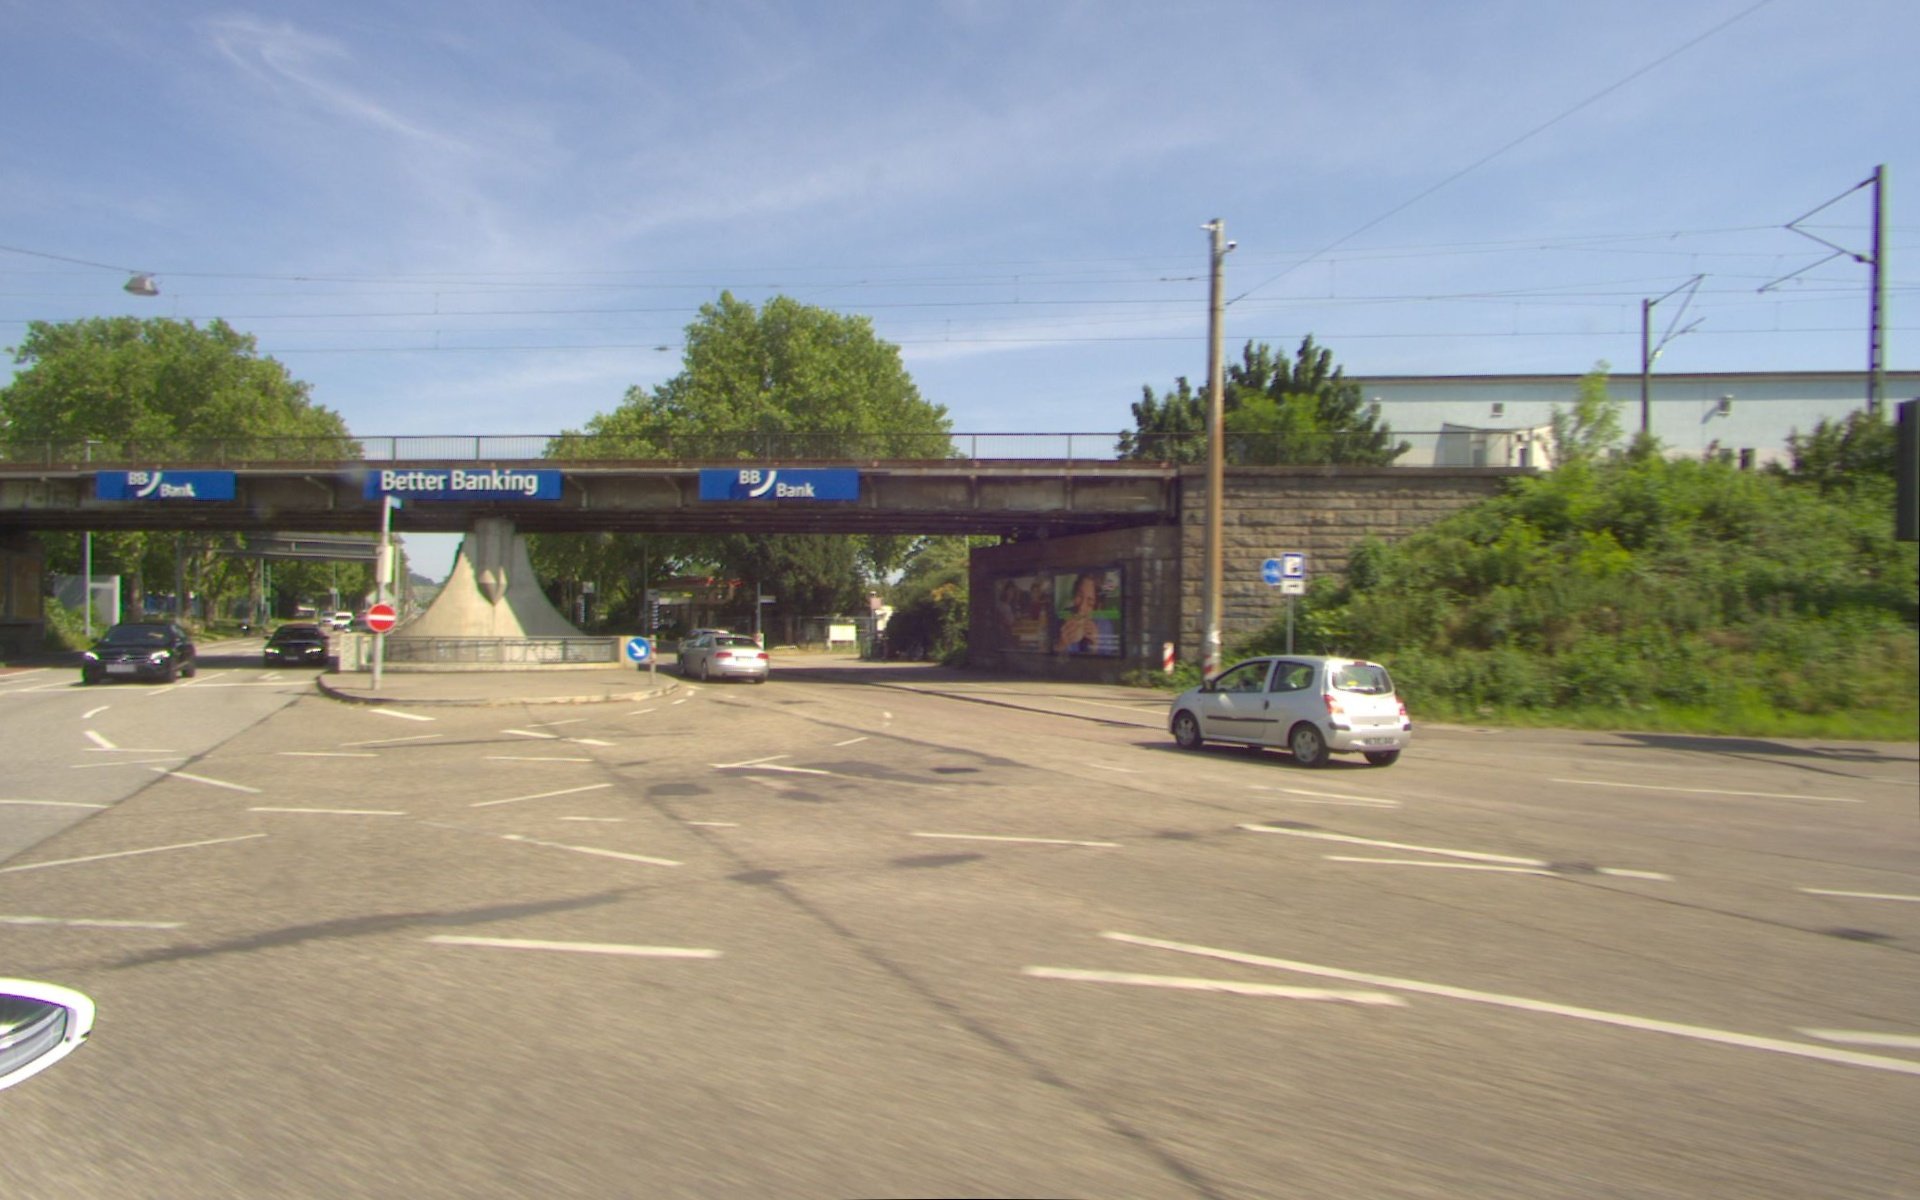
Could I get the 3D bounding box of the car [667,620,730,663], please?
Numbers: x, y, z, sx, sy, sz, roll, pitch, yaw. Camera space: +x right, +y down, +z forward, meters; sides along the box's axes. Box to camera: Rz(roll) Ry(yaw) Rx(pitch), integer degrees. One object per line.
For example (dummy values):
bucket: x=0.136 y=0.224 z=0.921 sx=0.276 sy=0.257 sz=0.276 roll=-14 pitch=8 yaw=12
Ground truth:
car: x=-11.458 y=1.779 z=43.689 sx=1.888 sy=1.792 sz=3.984 roll=2 pitch=-2 yaw=-26

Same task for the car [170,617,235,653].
car: x=-34.000 y=1.547 z=45.041 sx=1.802 sy=1.526 sz=4.194 roll=1 pitch=-2 yaw=-30

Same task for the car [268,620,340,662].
car: x=-24.039 y=1.478 z=36.805 sx=1.667 sy=1.460 sz=3.984 roll=1 pitch=-2 yaw=-26

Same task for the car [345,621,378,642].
car: x=-44.642 y=2.350 z=74.754 sx=1.666 sy=1.460 sz=3.986 roll=1 pitch=-2 yaw=-24

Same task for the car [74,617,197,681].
car: x=-22.569 y=1.289 z=27.597 sx=1.973 sy=1.616 sz=4.420 roll=2 pitch=-2 yaw=-31

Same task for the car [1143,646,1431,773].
car: x=4.569 y=1.486 z=14.571 sx=1.691 sy=1.469 sz=3.875 roll=3 pitch=-2 yaw=-28

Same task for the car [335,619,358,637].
car: x=-63.251 y=2.895 z=103.270 sx=1.777 sy=1.739 sz=3.983 roll=1 pitch=-2 yaw=-27

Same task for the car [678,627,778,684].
car: x=-7.351 y=1.710 z=31.374 sx=1.971 sy=1.527 sz=4.463 roll=4 pitch=-2 yaw=-27
